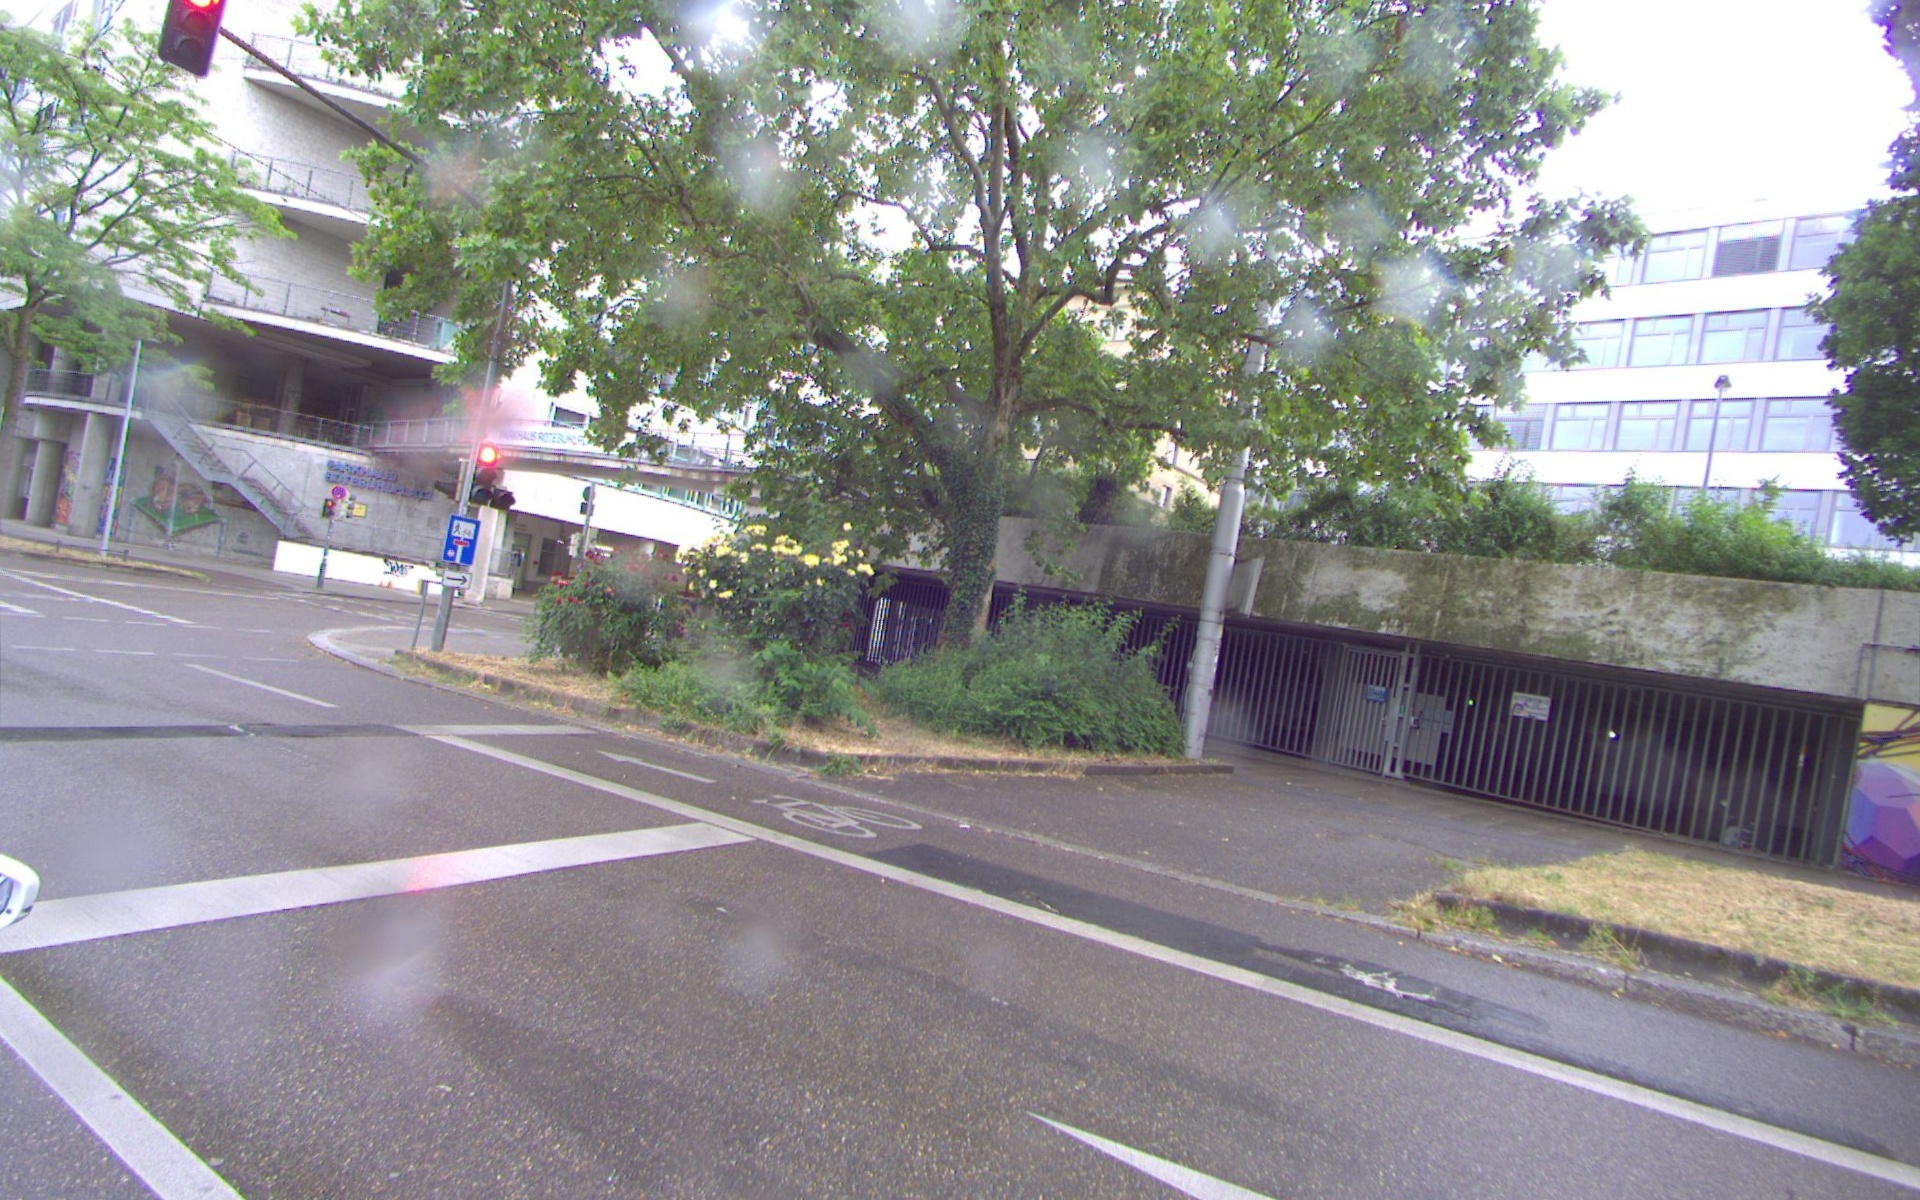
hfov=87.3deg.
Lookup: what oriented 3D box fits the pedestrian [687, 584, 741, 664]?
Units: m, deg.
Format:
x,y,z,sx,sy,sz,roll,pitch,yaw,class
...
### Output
x,y,z,sx,sy,sz,roll,pitch,yaw,class
-6.397,0.628,26.200,0.745,1.932,0.847,8,-1,31,pedestrian
